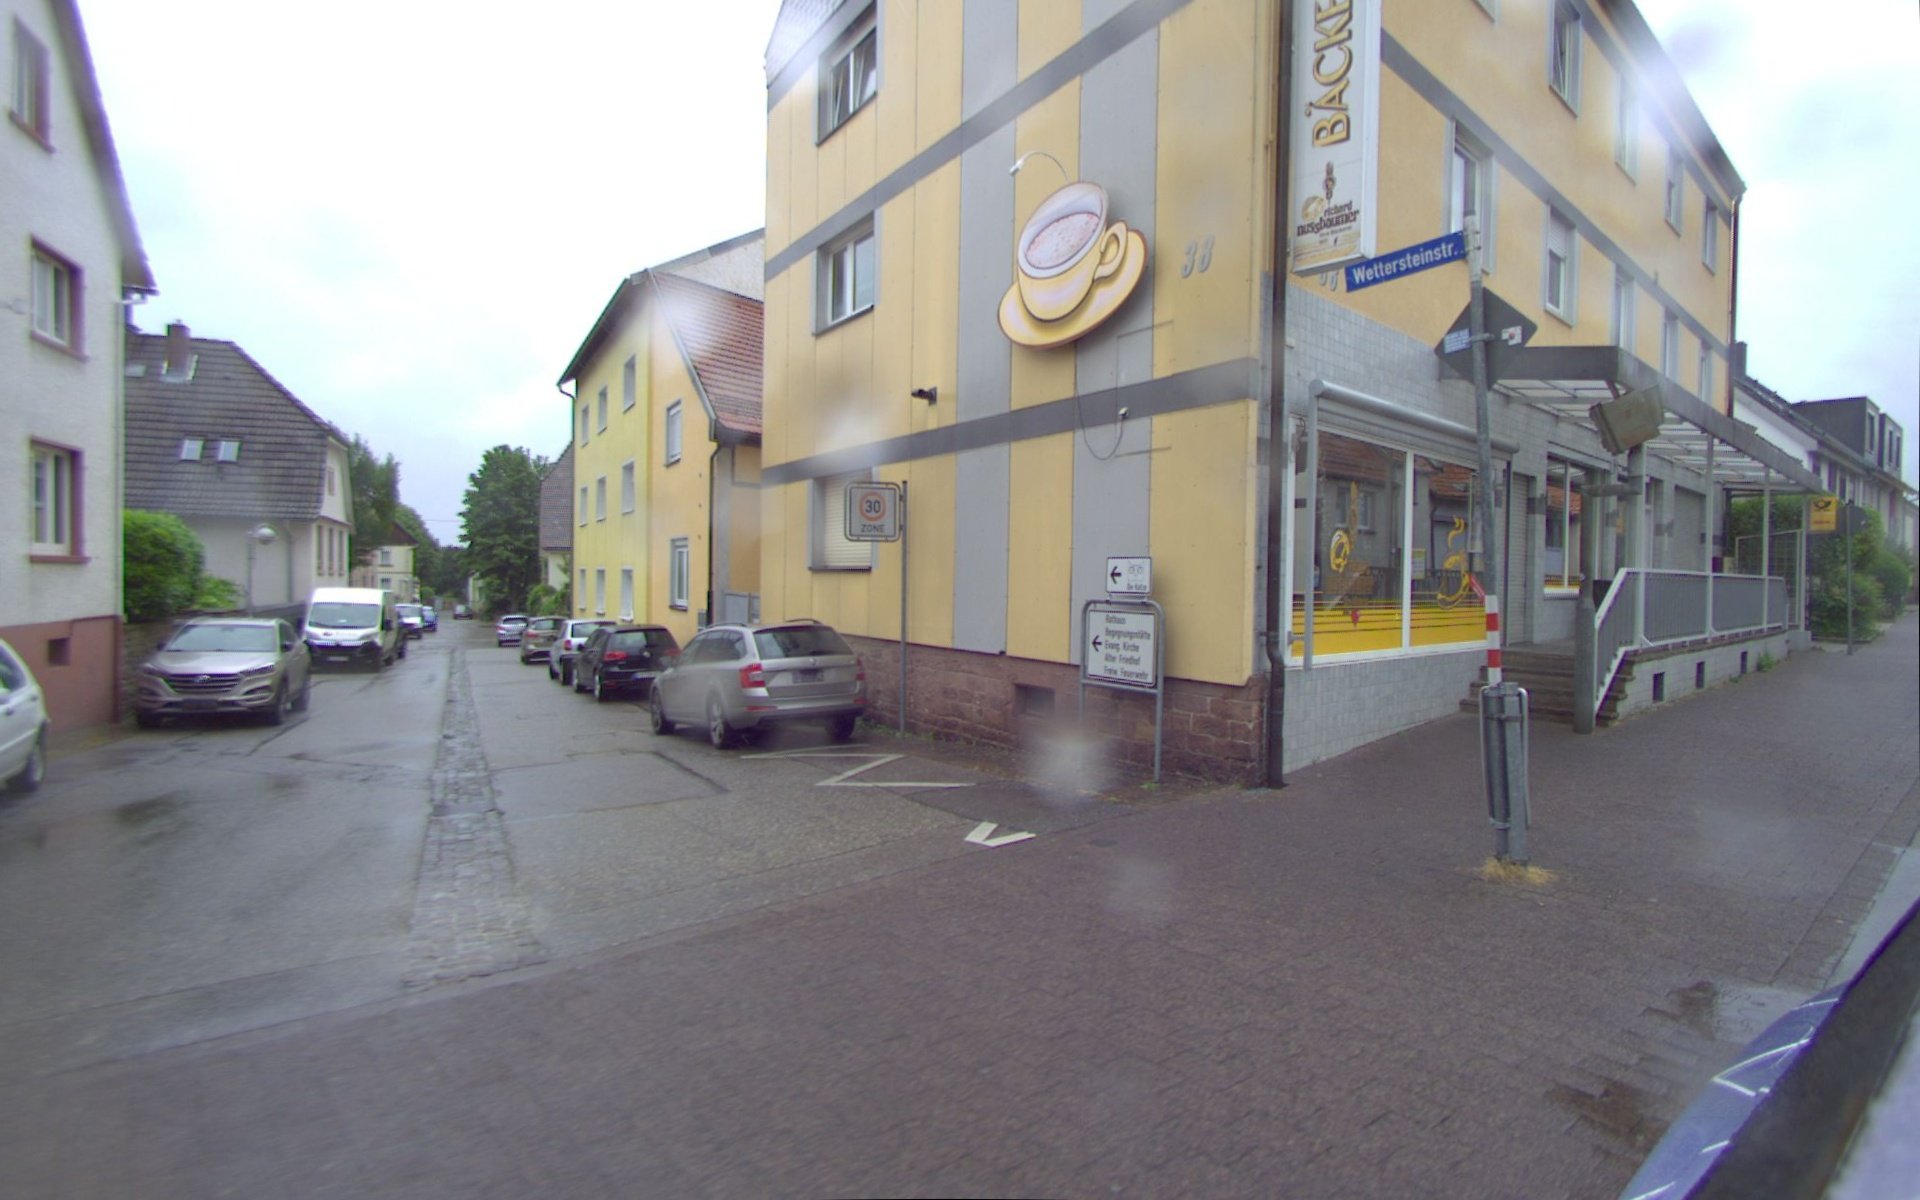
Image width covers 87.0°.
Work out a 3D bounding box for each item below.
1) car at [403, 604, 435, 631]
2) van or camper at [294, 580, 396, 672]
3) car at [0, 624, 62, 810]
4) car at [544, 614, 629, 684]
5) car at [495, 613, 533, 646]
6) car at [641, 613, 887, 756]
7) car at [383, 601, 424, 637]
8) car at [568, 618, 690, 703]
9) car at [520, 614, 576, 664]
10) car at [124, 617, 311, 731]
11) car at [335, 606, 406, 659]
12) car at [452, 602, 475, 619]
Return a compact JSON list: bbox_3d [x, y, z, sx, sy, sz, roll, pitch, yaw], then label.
[{"bbox_3d":[-37.603,1.204,70.315,1.810,1.730,4.044,2,-1,-30],"label":"car"},{"bbox_3d":[-18.663,0.750,30.976,2.044,2.511,5.905,2,-1,-26],"label":"van or camper"},{"bbox_3d":[-8.274,0.938,7.621,1.630,1.391,3.965,0,0,-32],"label":"car"},{"bbox_3d":[-9.493,1.173,25.560,1.631,1.535,3.877,-3,0,-26],"label":"car"},{"bbox_3d":[-21.682,1.413,49.231,1.631,1.410,3.879,0,1,-23],"label":"car"},{"bbox_3d":[-2.702,0.984,13.097,1.741,1.479,4.199,-1,-1,-31],"label":"car"},{"bbox_3d":[-32.458,1.078,58.981,1.960,2.039,4.645,2,-1,-30],"label":"car"},{"bbox_3d":[-7.016,1.181,21.174,1.816,1.478,4.025,-3,0,-26],"label":"car"},{"bbox_3d":[-14.244,1.281,34.877,1.631,1.581,3.877,0,-1,-24],"label":"car"},{"bbox_3d":[-12.020,1.103,16.666,1.791,1.633,4.026,1,-1,-27],"label":"car"},{"bbox_3d":[-21.510,1.153,37.067,1.879,1.855,3.842,2,-1,-25],"label":"car"},{"bbox_3d":[-52.233,1.095,106.410,1.885,1.737,4.004,0,0,-29],"label":"car"}]
